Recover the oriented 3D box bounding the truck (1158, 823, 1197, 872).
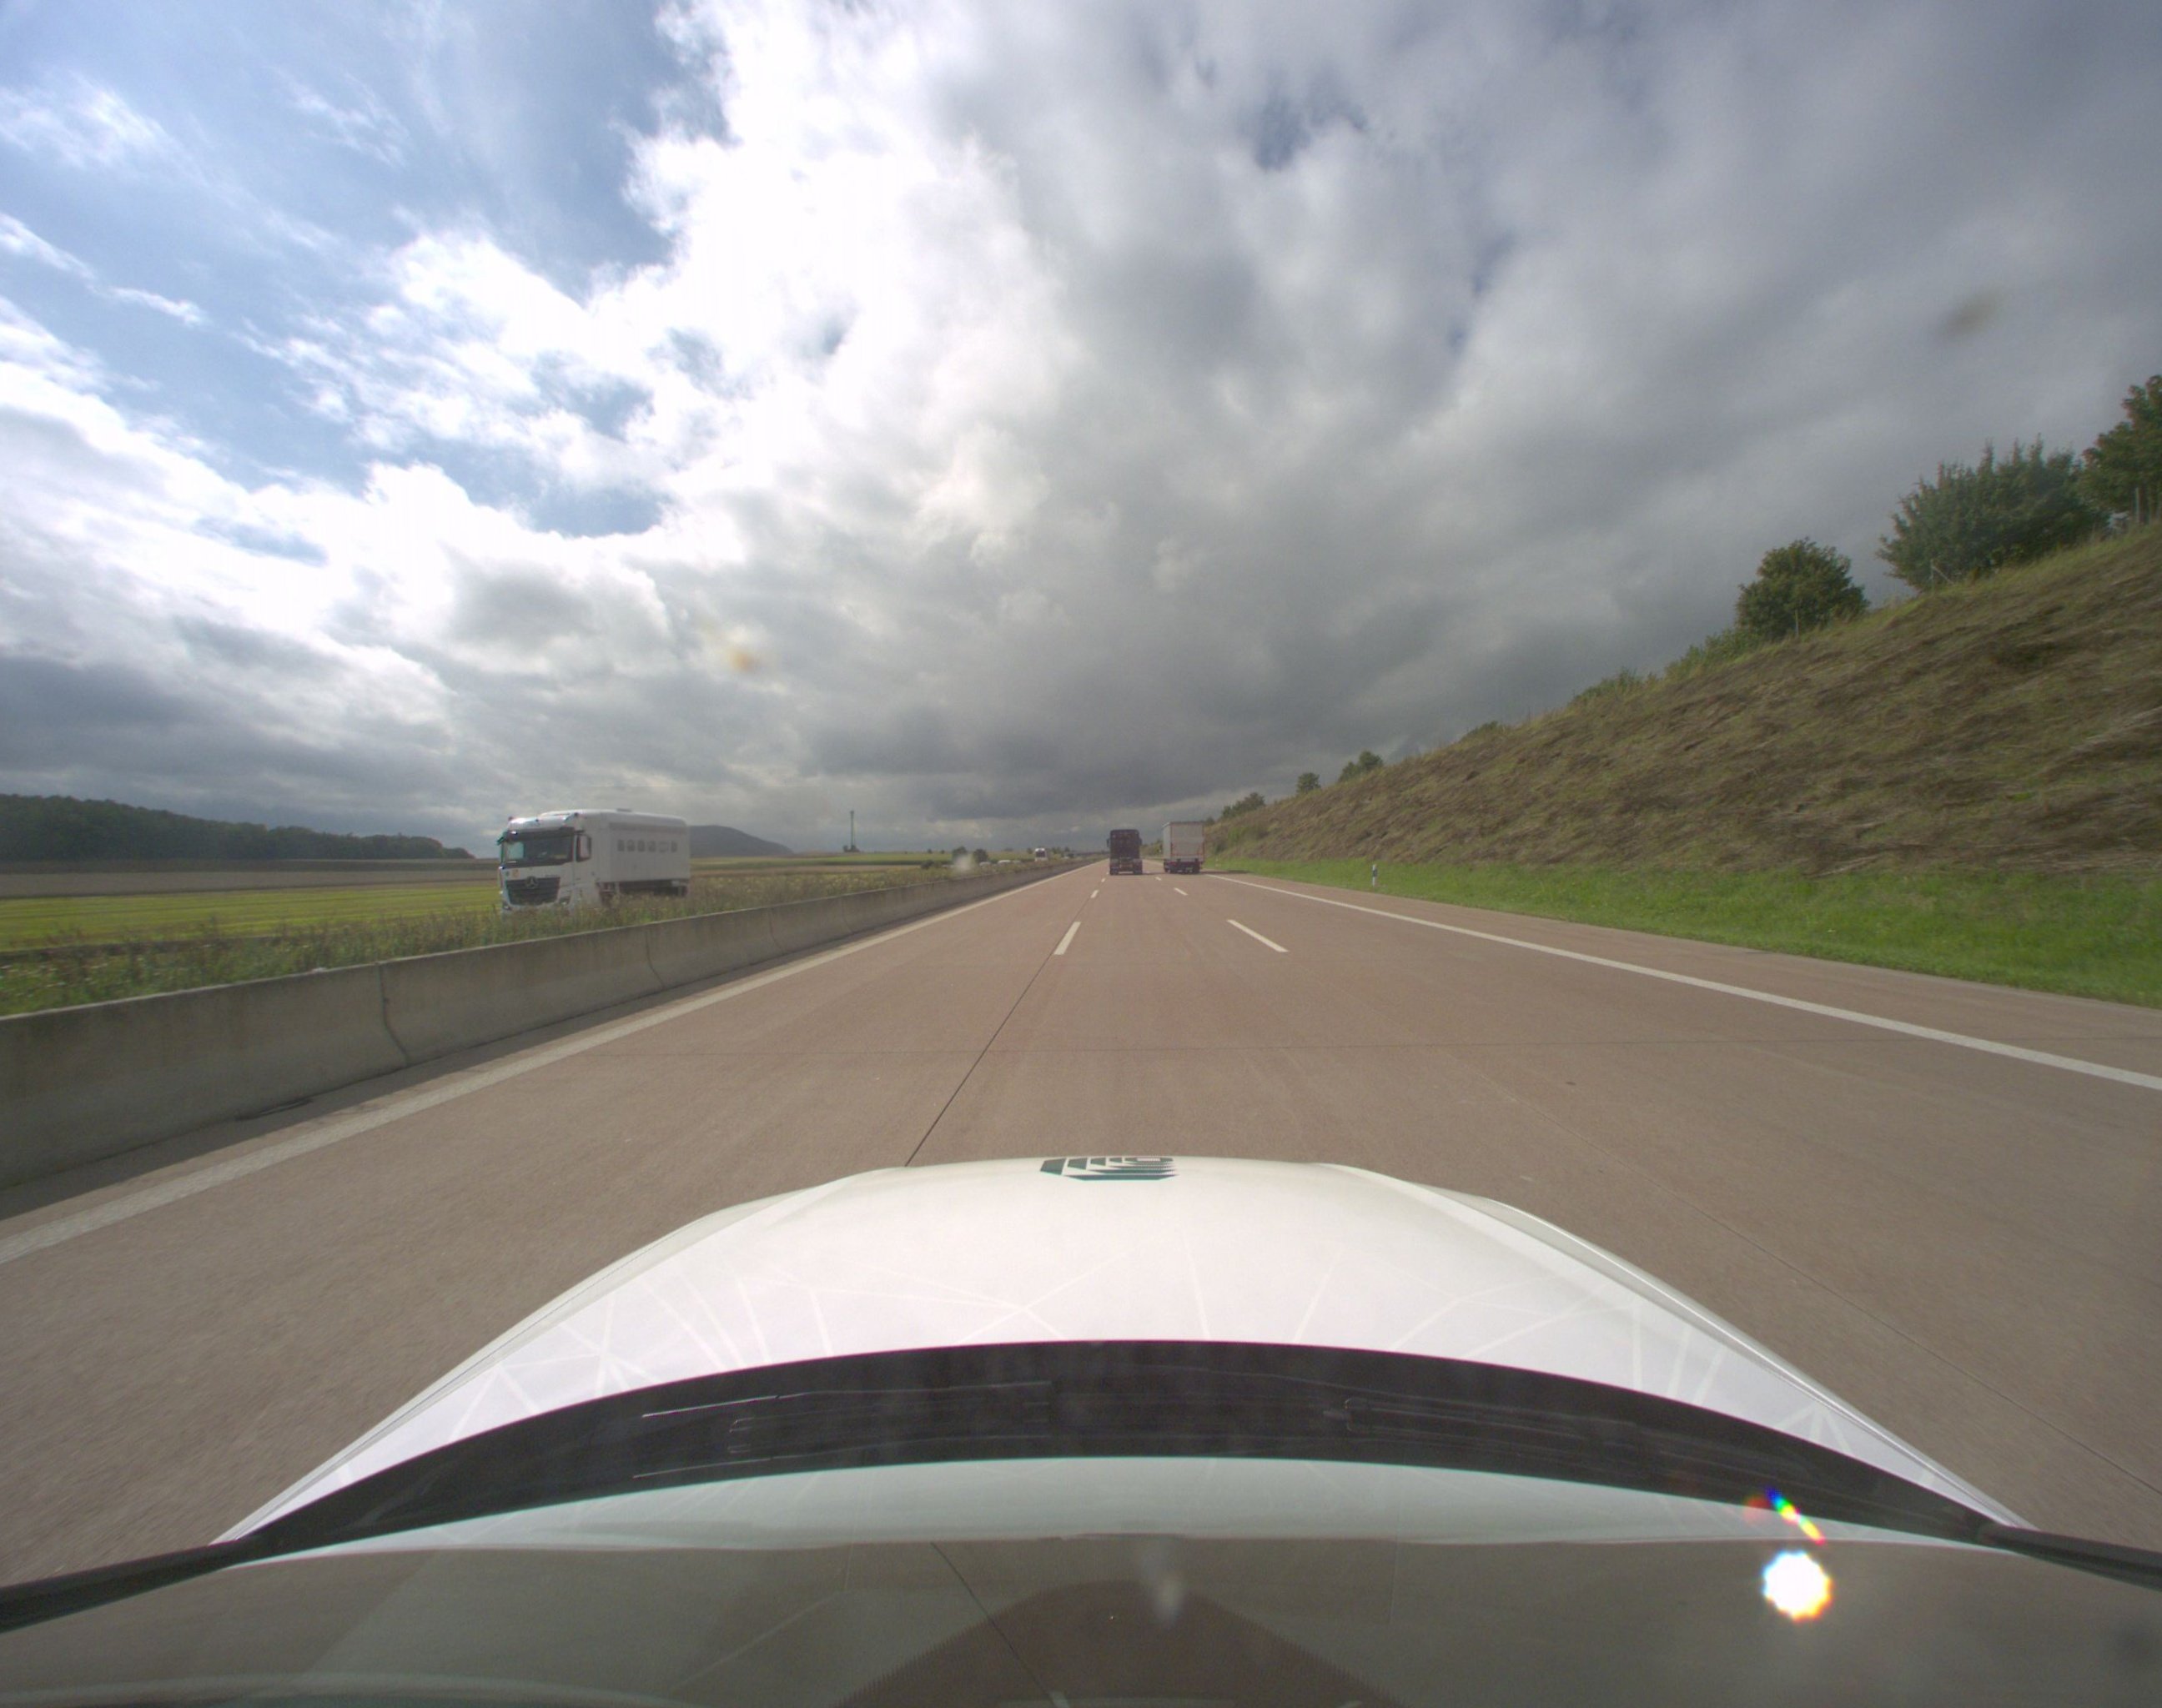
[{"bbox_3d":[8.104,-0.511,68.835,2.739,3.892,4.546,-1,-1,1],"label":"truck"}]

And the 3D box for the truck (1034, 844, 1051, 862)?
[{"bbox_3d":[-9.139,-0.272,193.536,3.192,4.098,6.132,0,0,3],"label":"truck"}]

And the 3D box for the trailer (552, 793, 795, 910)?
[{"bbox_3d":[-16.671,-0.098,35.441,2.759,3.959,14.337,-2,0,2],"label":"trailer"}]

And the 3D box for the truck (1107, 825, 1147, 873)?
[{"bbox_3d":[3.556,-0.343,64.994,2.837,3.550,8.321,-1,0,1],"label":"truck"}]

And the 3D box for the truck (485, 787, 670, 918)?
[{"bbox_3d":[-16.931,-0.053,27.861,2.760,3.959,5.293,-2,0,2],"label":"truck"}]

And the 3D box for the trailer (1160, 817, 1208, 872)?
[{"bbox_3d":[8.021,-0.695,64.458,2.738,4.012,8.671,-1,0,1],"label":"trailer"}]
